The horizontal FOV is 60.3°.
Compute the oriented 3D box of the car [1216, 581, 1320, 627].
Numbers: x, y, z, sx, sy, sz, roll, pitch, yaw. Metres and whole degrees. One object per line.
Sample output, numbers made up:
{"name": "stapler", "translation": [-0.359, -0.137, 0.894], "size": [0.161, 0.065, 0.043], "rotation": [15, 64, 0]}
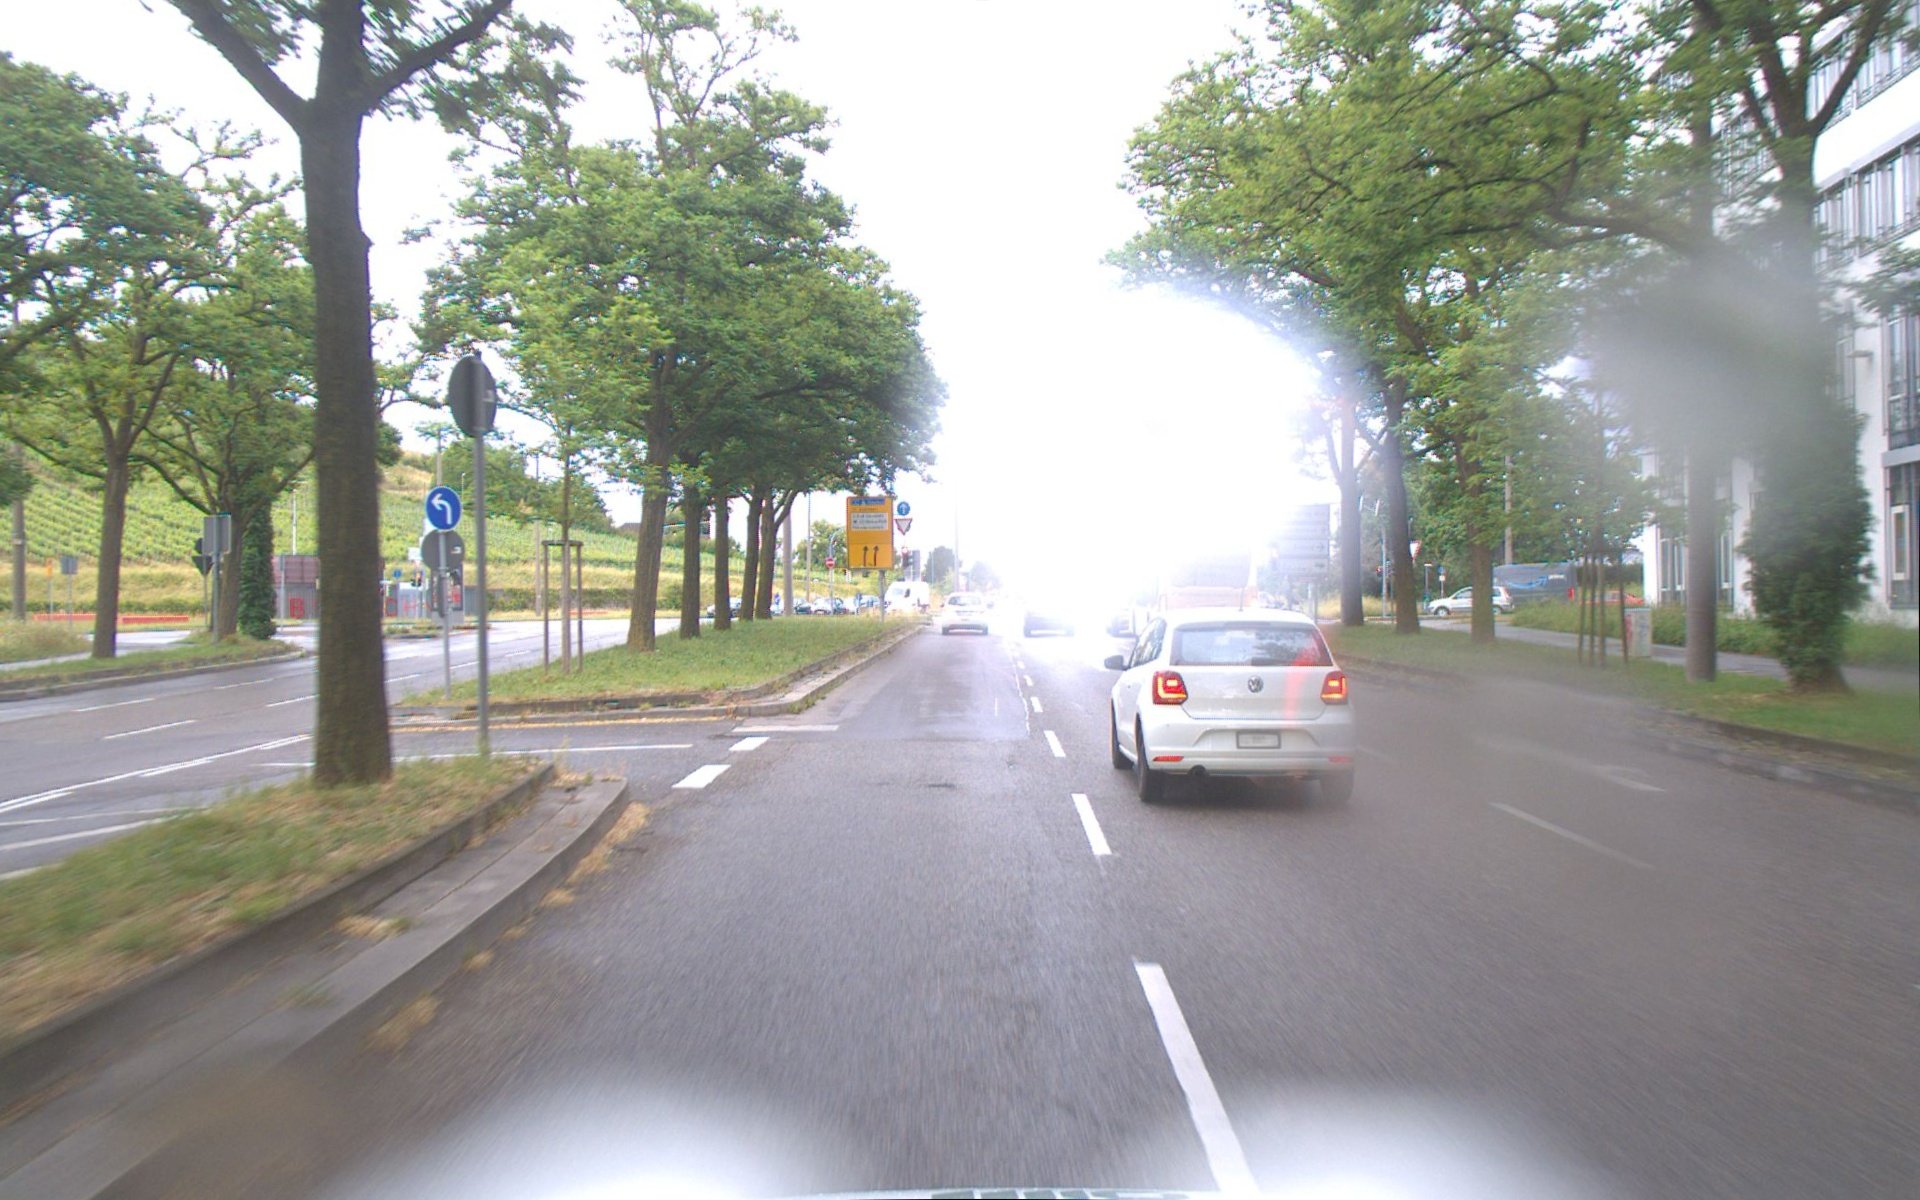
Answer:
{"name": "car", "translation": [10.810, 0.142, 57.994], "size": [3.797, 1.542, 1.673], "rotation": [0, -1, -43]}

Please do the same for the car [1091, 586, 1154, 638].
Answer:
{"name": "car", "translation": [5.780, 0.445, 59.284], "size": [1.952, 1.747, 4.001], "rotation": [-1, -1, 2]}

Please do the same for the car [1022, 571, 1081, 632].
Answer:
{"name": "car", "translation": [3.212, 0.005, 58.611], "size": [1.952, 2.048, 4.001], "rotation": [-1, 1, 2]}

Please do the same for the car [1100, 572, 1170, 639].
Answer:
{"name": "car", "translation": [5.619, 0.190, 53.621], "size": [1.952, 2.049, 4.001], "rotation": [-1, -1, 2]}

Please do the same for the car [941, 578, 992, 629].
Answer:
{"name": "car", "translation": [0.247, 0.108, 60.241], "size": [1.757, 1.772, 4.000], "rotation": [-1, 1, 0]}

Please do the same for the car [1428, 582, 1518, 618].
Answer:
{"name": "car", "translation": [24.489, -0.005, 78.927], "size": [3.906, 1.563, 2.000], "rotation": [-1, 0, 23]}

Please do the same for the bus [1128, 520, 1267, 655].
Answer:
{"name": "bus", "translation": [6.383, -0.350, 45.900], "size": [2.769, 3.324, 10.003], "rotation": [0, 0, 2]}

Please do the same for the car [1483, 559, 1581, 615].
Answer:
{"name": "car", "translation": [27.779, -0.617, 80.334], "size": [4.164, 2.608, 1.996], "rotation": [-1, 0, 30]}

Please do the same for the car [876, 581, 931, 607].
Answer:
{"name": "car", "translation": [-4.669, -0.526, 138.217], "size": [1.956, 2.049, 5.701], "rotation": [-1, 0, 29]}

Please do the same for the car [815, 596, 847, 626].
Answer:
{"name": "car", "translation": [-8.948, 0.783, 114.808], "size": [1.953, 2.049, 3.998], "rotation": [0, -1, -1]}

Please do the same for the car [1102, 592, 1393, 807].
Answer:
{"name": "car", "translation": [2.244, 0.715, 13.920], "size": [1.757, 1.528, 4.000], "rotation": [1, 0, 0]}
